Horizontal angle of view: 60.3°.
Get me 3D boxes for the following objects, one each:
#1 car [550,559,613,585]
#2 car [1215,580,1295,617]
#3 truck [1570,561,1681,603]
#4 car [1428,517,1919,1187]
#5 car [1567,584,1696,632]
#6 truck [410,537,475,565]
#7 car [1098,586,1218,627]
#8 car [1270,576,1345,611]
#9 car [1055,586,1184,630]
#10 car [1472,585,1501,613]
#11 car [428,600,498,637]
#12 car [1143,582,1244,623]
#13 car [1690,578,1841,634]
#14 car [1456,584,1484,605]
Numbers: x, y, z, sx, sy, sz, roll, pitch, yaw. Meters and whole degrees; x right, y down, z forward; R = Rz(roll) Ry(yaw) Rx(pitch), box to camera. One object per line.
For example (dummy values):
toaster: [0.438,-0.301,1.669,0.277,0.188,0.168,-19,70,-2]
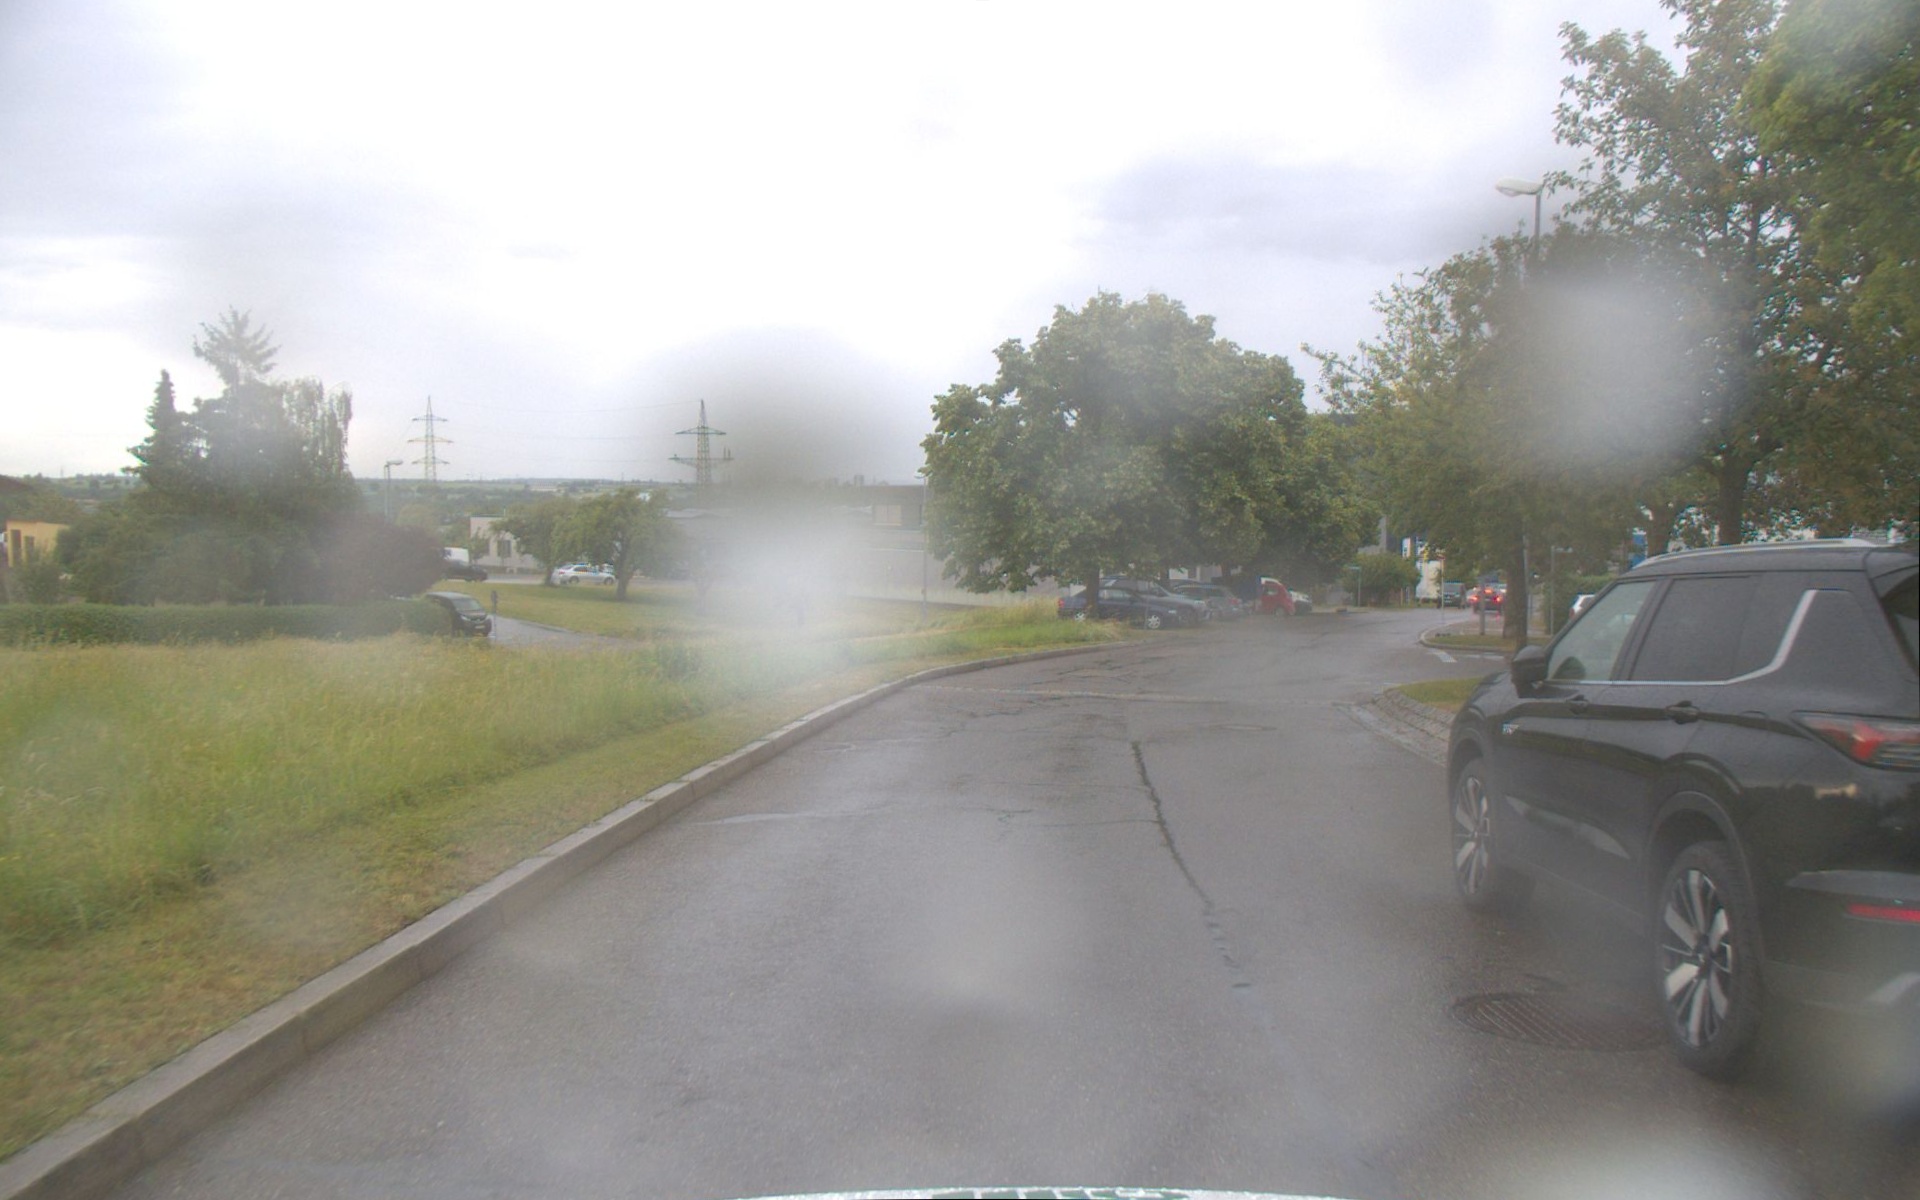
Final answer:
car: [-28.650,-2.150,125.305,4.232,1.731,1.774,2,3,-38]
car: [13.931,-0.073,77.982,3.486,1.634,1.693,-1,0,18]
truck: [45.989,-1.199,114.389,6.736,2.774,2.638,-1,0,32]
car: [3.335,0.629,6.549,1.771,1.733,4.600,1,1,2]
car: [23.042,0.279,56.887,4.009,1.593,2.000,-1,0,21]
truck: [-48.447,-4.607,154.797,5.273,2.349,2.403,1,3,-38]
car: [6.953,0.220,57.972,3.902,1.384,1.855,-1,0,15]
car: [19.032,-0.353,90.551,3.902,1.842,2.002,-1,0,15]
car: [5.408,0.268,55.843,4.077,1.379,1.864,-1,0,15]
car: [33.294,-0.093,104.558,1.651,1.578,3.699,2,2,18]
car: [-24.247,0.860,80.625,1.767,1.624,3.937,-1,2,-43]
car: [9.252,0.074,65.570,3.787,1.574,1.775,1,0,14]
car: [22.930,0.160,47.245,1.839,1.501,3.964,-1,0,-12]
car: [41.117,-0.435,133.395,1.837,1.624,4.000,-1,0,22]
